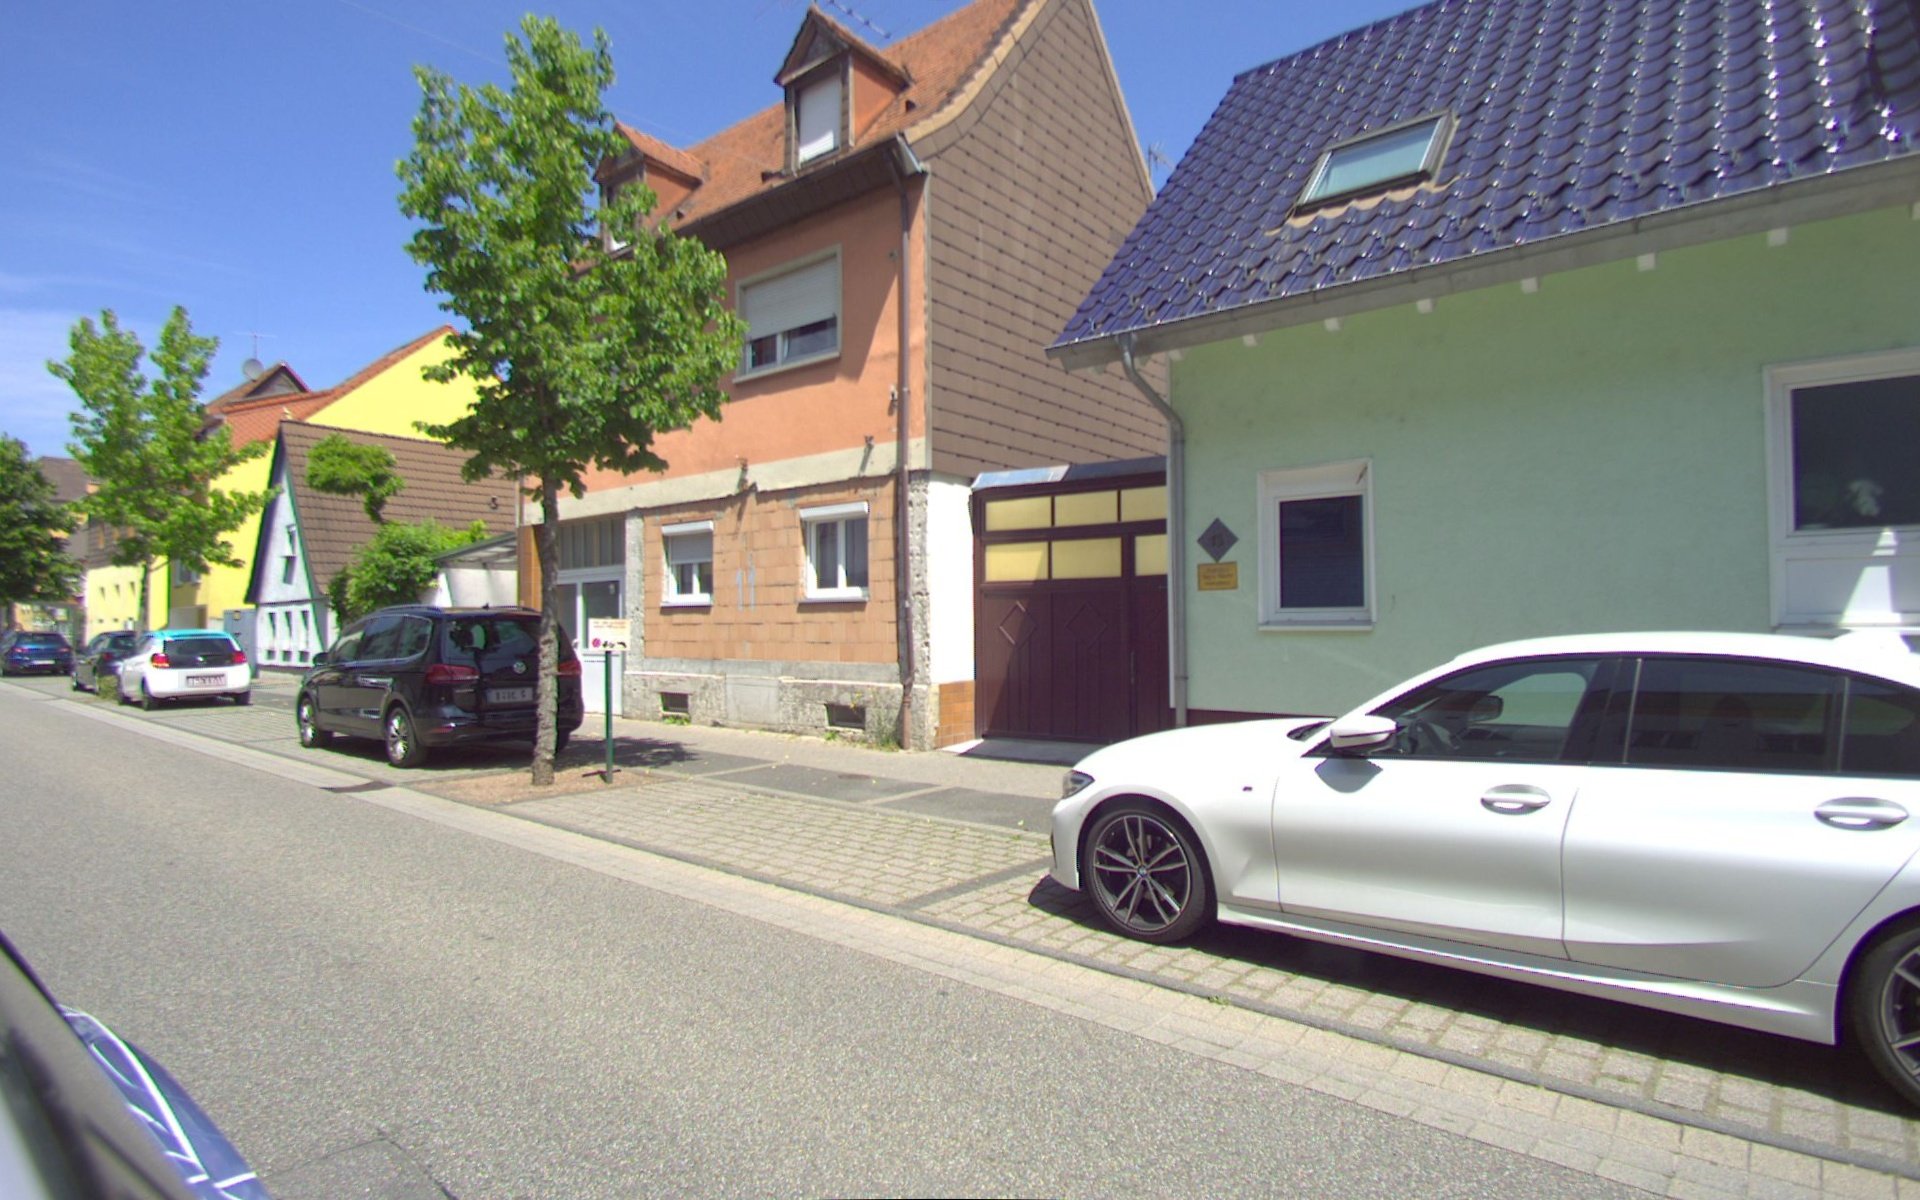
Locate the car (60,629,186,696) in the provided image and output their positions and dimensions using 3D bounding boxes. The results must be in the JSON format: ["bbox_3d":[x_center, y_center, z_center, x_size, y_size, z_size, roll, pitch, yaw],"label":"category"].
[{"bbox_3d":[-19.867,1.433,23.978,4.096,1.441,1.628,-2,-3,41],"label":"car"}]

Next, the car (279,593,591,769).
[{"bbox_3d":[-6.402,0.862,12.117,4.516,1.739,1.757,-2,-2,40],"label":"car"}]

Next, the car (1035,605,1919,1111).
[{"bbox_3d":[2.603,0.764,4.185,4.458,1.448,1.702,-2,-1,42],"label":"car"}]

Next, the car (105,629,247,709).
[{"bbox_3d":[-15.340,1.287,19.758,3.408,1.441,1.537,-2,-3,41],"label":"car"}]

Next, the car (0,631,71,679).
[{"bbox_3d":[-29.779,1.712,32.244,4.156,1.418,1.639,-2,-2,41],"label":"car"}]

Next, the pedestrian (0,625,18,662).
[{"bbox_3d":[-41.102,1.867,43.598,0.770,1.614,0.655,-2,-2,41],"label":"pedestrian"}]

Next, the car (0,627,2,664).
[{"bbox_3d":[-44.179,2.038,45.143,4.156,1.587,1.731,-2,-2,41],"label":"car"}]
